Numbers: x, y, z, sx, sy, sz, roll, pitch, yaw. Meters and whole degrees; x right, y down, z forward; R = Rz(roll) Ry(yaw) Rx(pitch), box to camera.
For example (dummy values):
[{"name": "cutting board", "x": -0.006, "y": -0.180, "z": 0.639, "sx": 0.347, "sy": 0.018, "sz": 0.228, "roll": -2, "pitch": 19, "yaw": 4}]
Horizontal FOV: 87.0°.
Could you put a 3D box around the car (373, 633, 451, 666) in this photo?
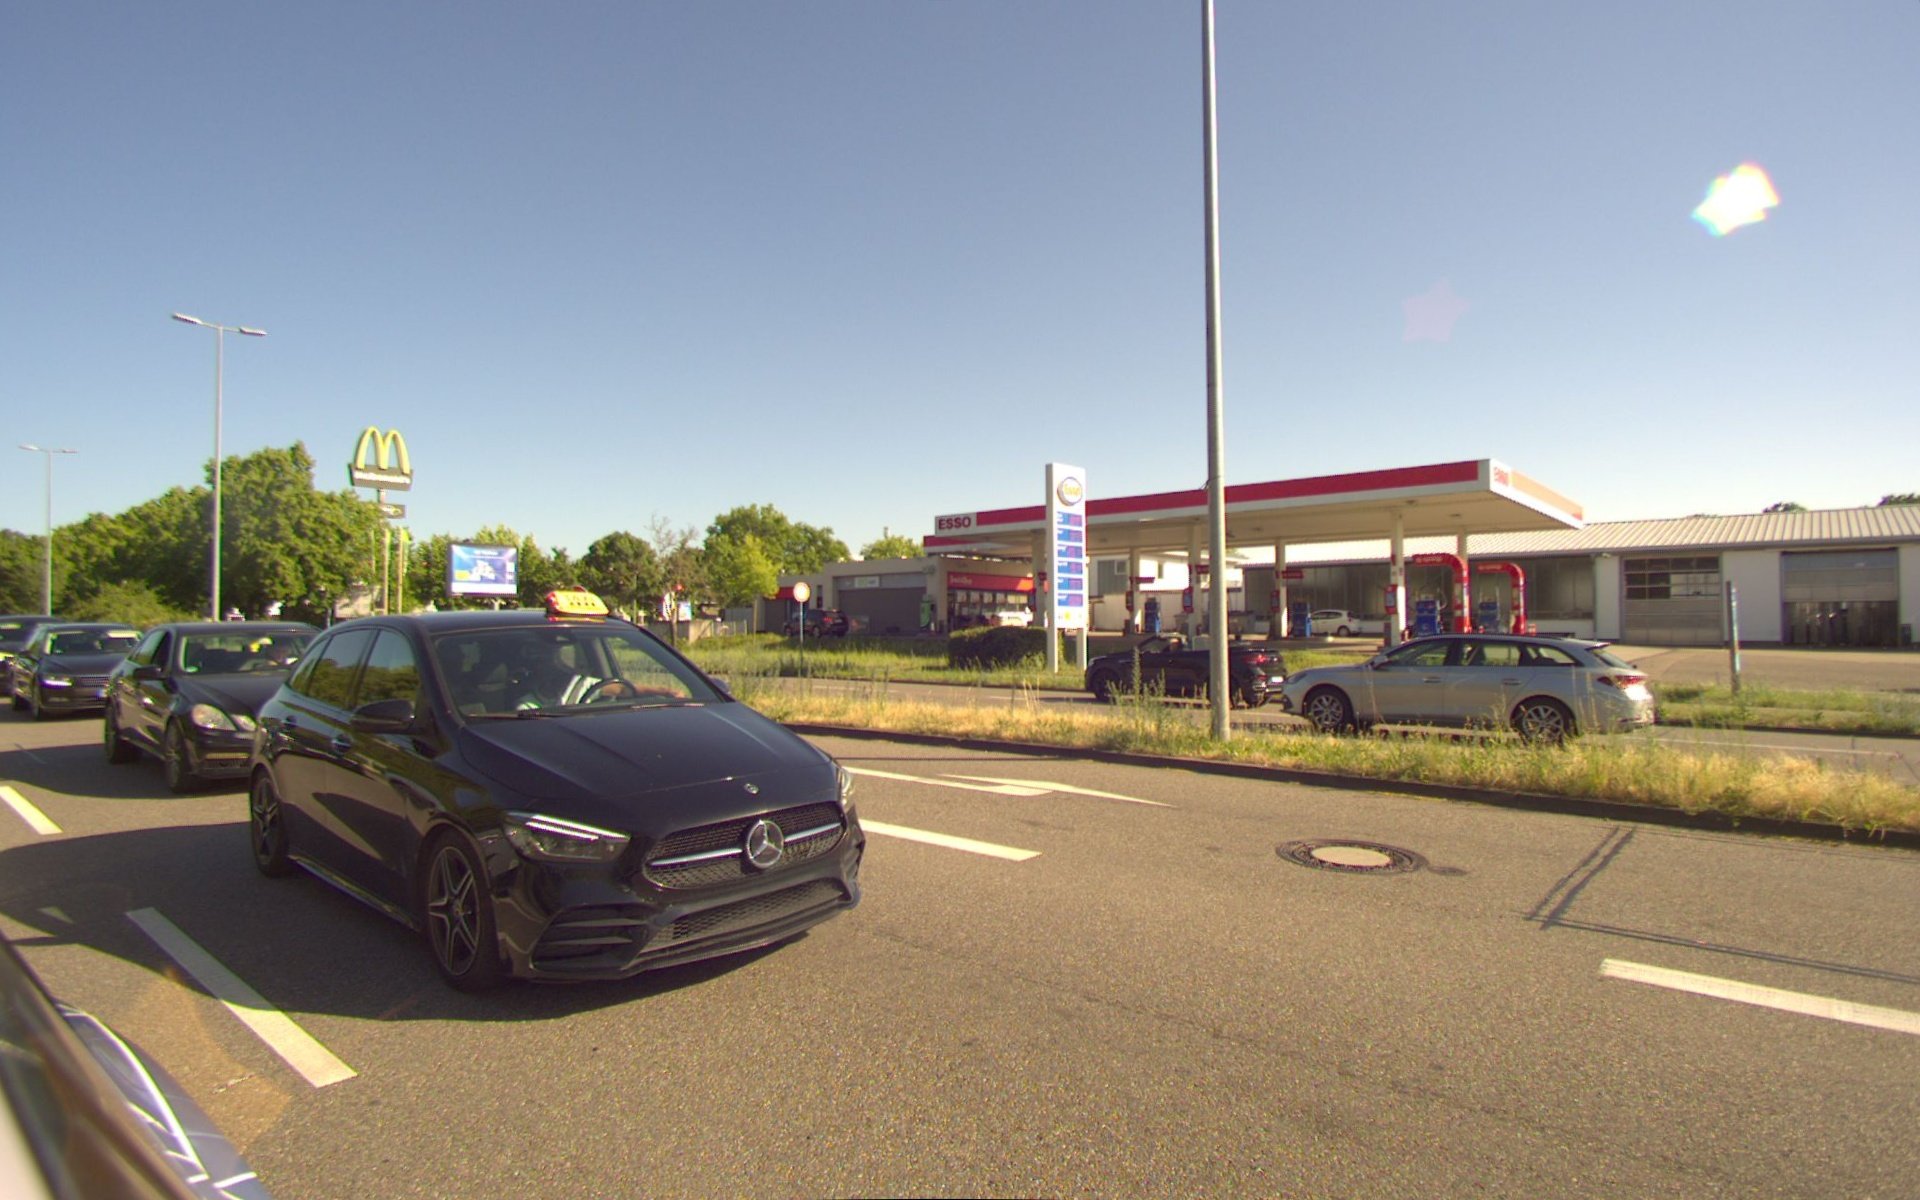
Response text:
[{"name": "car", "x": -25.035, "y": 2.258, "z": 46.178, "sx": 3.975, "sy": 1.420, "sz": 1.741, "roll": -1, "pitch": -4, "yaw": 40}]

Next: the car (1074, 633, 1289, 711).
[{"name": "car", "x": 4.499, "y": 1.423, "z": 20.802, "sx": 3.975, "sy": 1.420, "sz": 1.741, "roll": -1, "pitch": -4, "yaw": 40}]

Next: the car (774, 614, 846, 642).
[{"name": "car", "x": -8.120, "y": 1.514, "z": 54.624, "sx": 3.975, "sy": 1.420, "sz": 1.661, "roll": -1, "pitch": -4, "yaw": 40}]

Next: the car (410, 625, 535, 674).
[{"name": "car", "x": -16.450, "y": 1.648, "z": 34.037, "sx": 4.872, "sy": 1.502, "sz": 1.742, "roll": -1, "pitch": -4, "yaw": 38}]

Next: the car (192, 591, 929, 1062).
[{"name": "car", "x": -2.380, "y": 0.738, "z": 5.330, "sx": 4.400, "sy": 1.502, "sz": 1.741, "roll": -1, "pitch": 0, "yaw": 40}]

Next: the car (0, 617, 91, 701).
[{"name": "car", "x": -19.971, "y": 1.205, "z": 21.522, "sx": 3.876, "sy": 1.629, "sz": 1.653, "roll": -2, "pitch": -1, "yaw": 40}]

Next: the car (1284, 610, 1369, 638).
[{"name": "car", "x": 19.835, "y": 1.293, "z": 54.838, "sx": 3.975, "sy": 1.420, "sz": 1.661, "roll": -1, "pitch": -4, "yaw": 40}]

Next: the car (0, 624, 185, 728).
[{"name": "car", "x": -14.450, "y": 1.155, "z": 16.688, "sx": 4.284, "sy": 1.438, "sz": 1.775, "roll": -1, "pitch": 0, "yaw": 40}]

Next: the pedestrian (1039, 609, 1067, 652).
[{"name": "pedestrian", "x": 3.933, "y": 1.286, "z": 42.810, "sx": 0.904, "sy": 1.763, "sz": 0.780, "roll": -1, "pitch": 0, "yaw": 43}]

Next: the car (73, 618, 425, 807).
[{"name": "car", "x": -7.258, "y": 0.931, "z": 10.156, "sx": 4.400, "sy": 1.449, "sz": 1.845, "roll": -1, "pitch": 0, "yaw": 40}]

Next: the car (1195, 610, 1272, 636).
[{"name": "car", "x": 15.832, "y": 1.345, "z": 58.579, "sx": 3.975, "sy": 1.420, "sz": 1.661, "roll": -1, "pitch": -4, "yaw": 40}]

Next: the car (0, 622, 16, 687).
[{"name": "car", "x": -25.222, "y": 1.370, "z": 25.533, "sx": 3.774, "sy": 1.567, "sz": 1.615, "roll": -1, "pitch": -1, "yaw": 40}]

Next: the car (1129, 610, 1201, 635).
[{"name": "car", "x": 12.434, "y": 1.388, "z": 61.378, "sx": 3.975, "sy": 1.420, "sz": 1.661, "roll": -1, "pitch": -4, "yaw": 40}]

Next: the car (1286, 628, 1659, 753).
[{"name": "car", "x": 6.863, "y": 1.130, "z": 13.801, "sx": 4.300, "sy": 1.420, "sz": 1.711, "roll": -1, "pitch": -4, "yaw": 39}]
